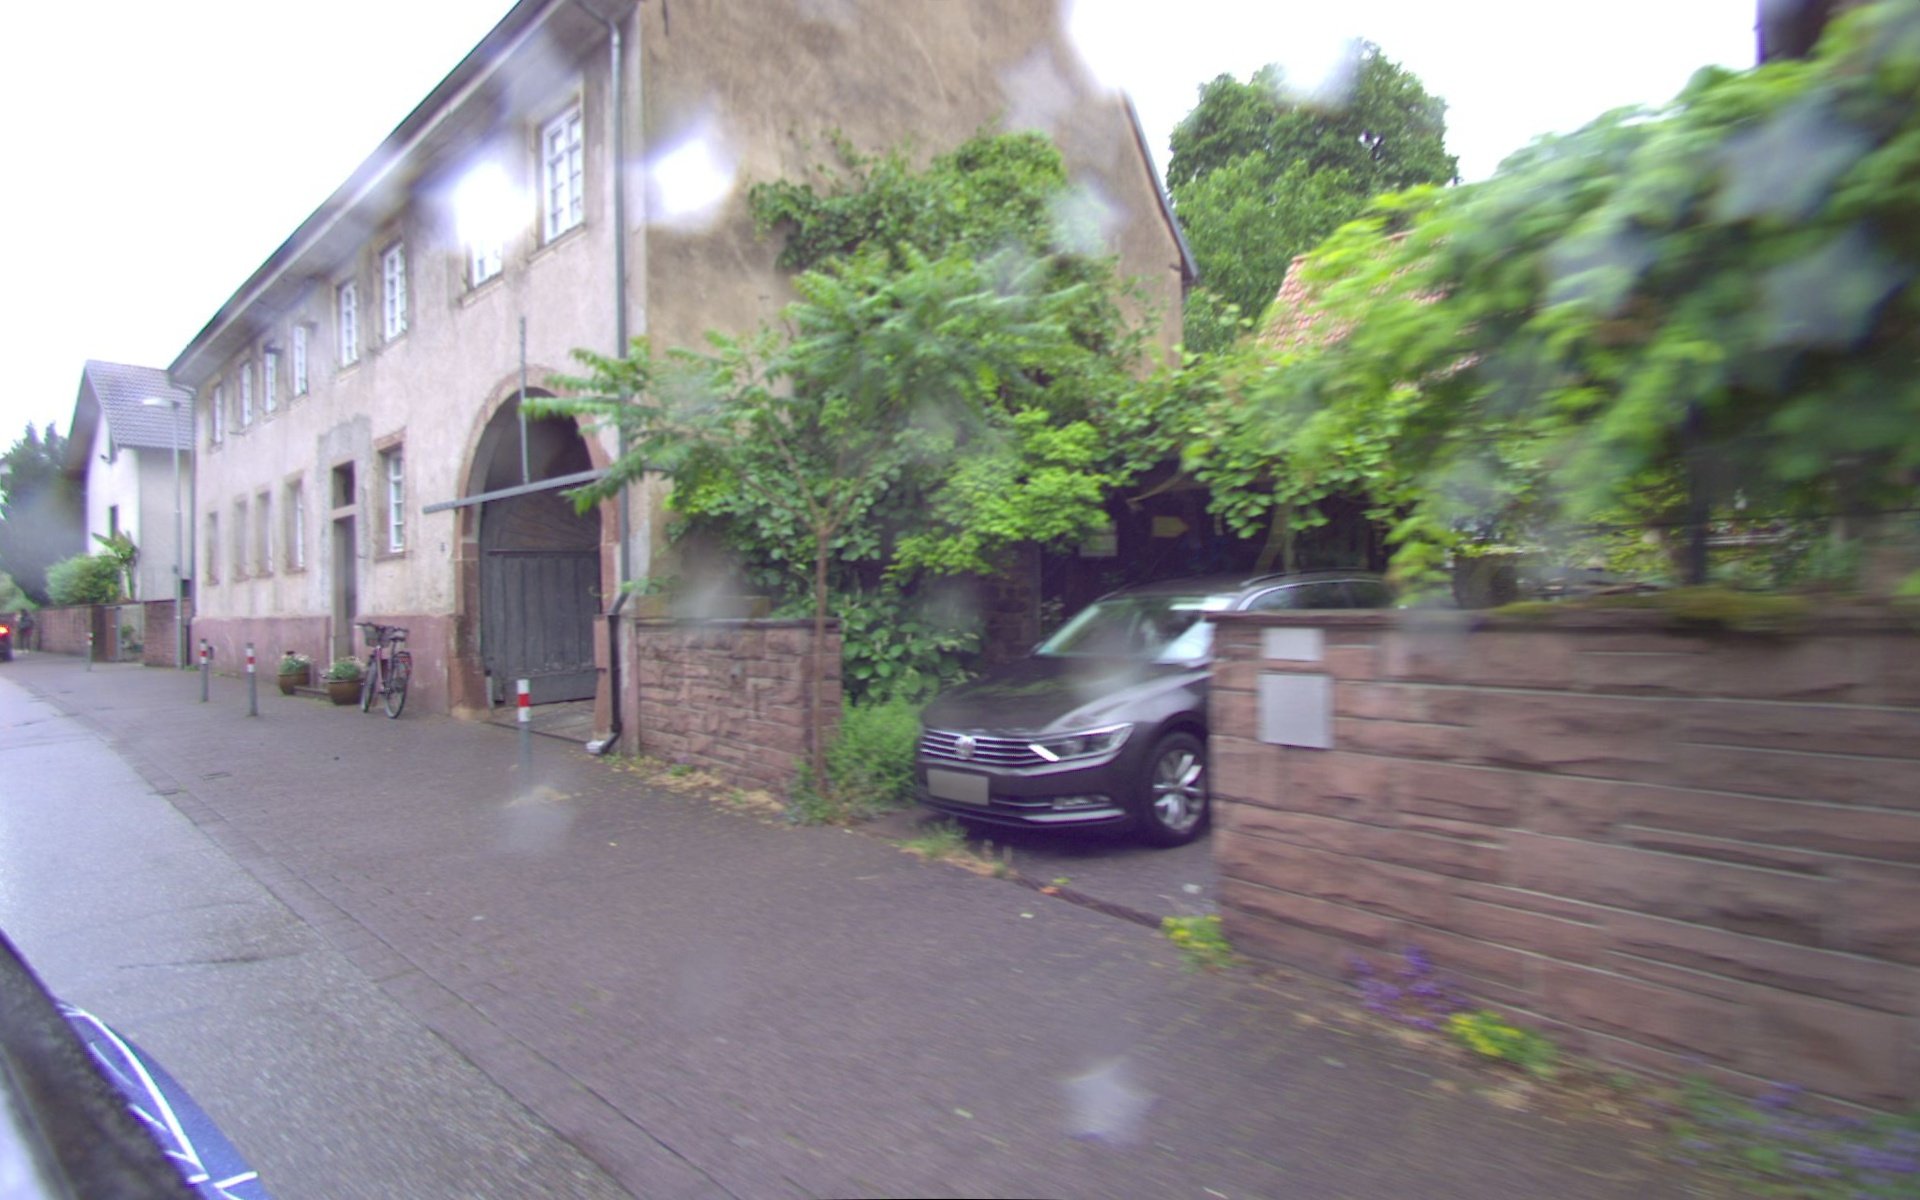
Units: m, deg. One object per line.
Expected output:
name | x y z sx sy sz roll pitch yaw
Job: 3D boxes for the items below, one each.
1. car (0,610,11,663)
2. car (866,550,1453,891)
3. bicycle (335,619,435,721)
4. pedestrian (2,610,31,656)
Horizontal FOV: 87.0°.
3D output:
car | -30.329 1.120 30.660 4.236 1.567 1.814 0 1 40
car | 1.527 0.528 6.815 3.939 1.436 1.739 -6 4 -40
bicycle | -7.309 0.860 12.830 1.873 1.187 0.476 -2 1 42
pedestrian | -32.581 1.121 34.952 0.832 1.550 0.566 -1 1 38
